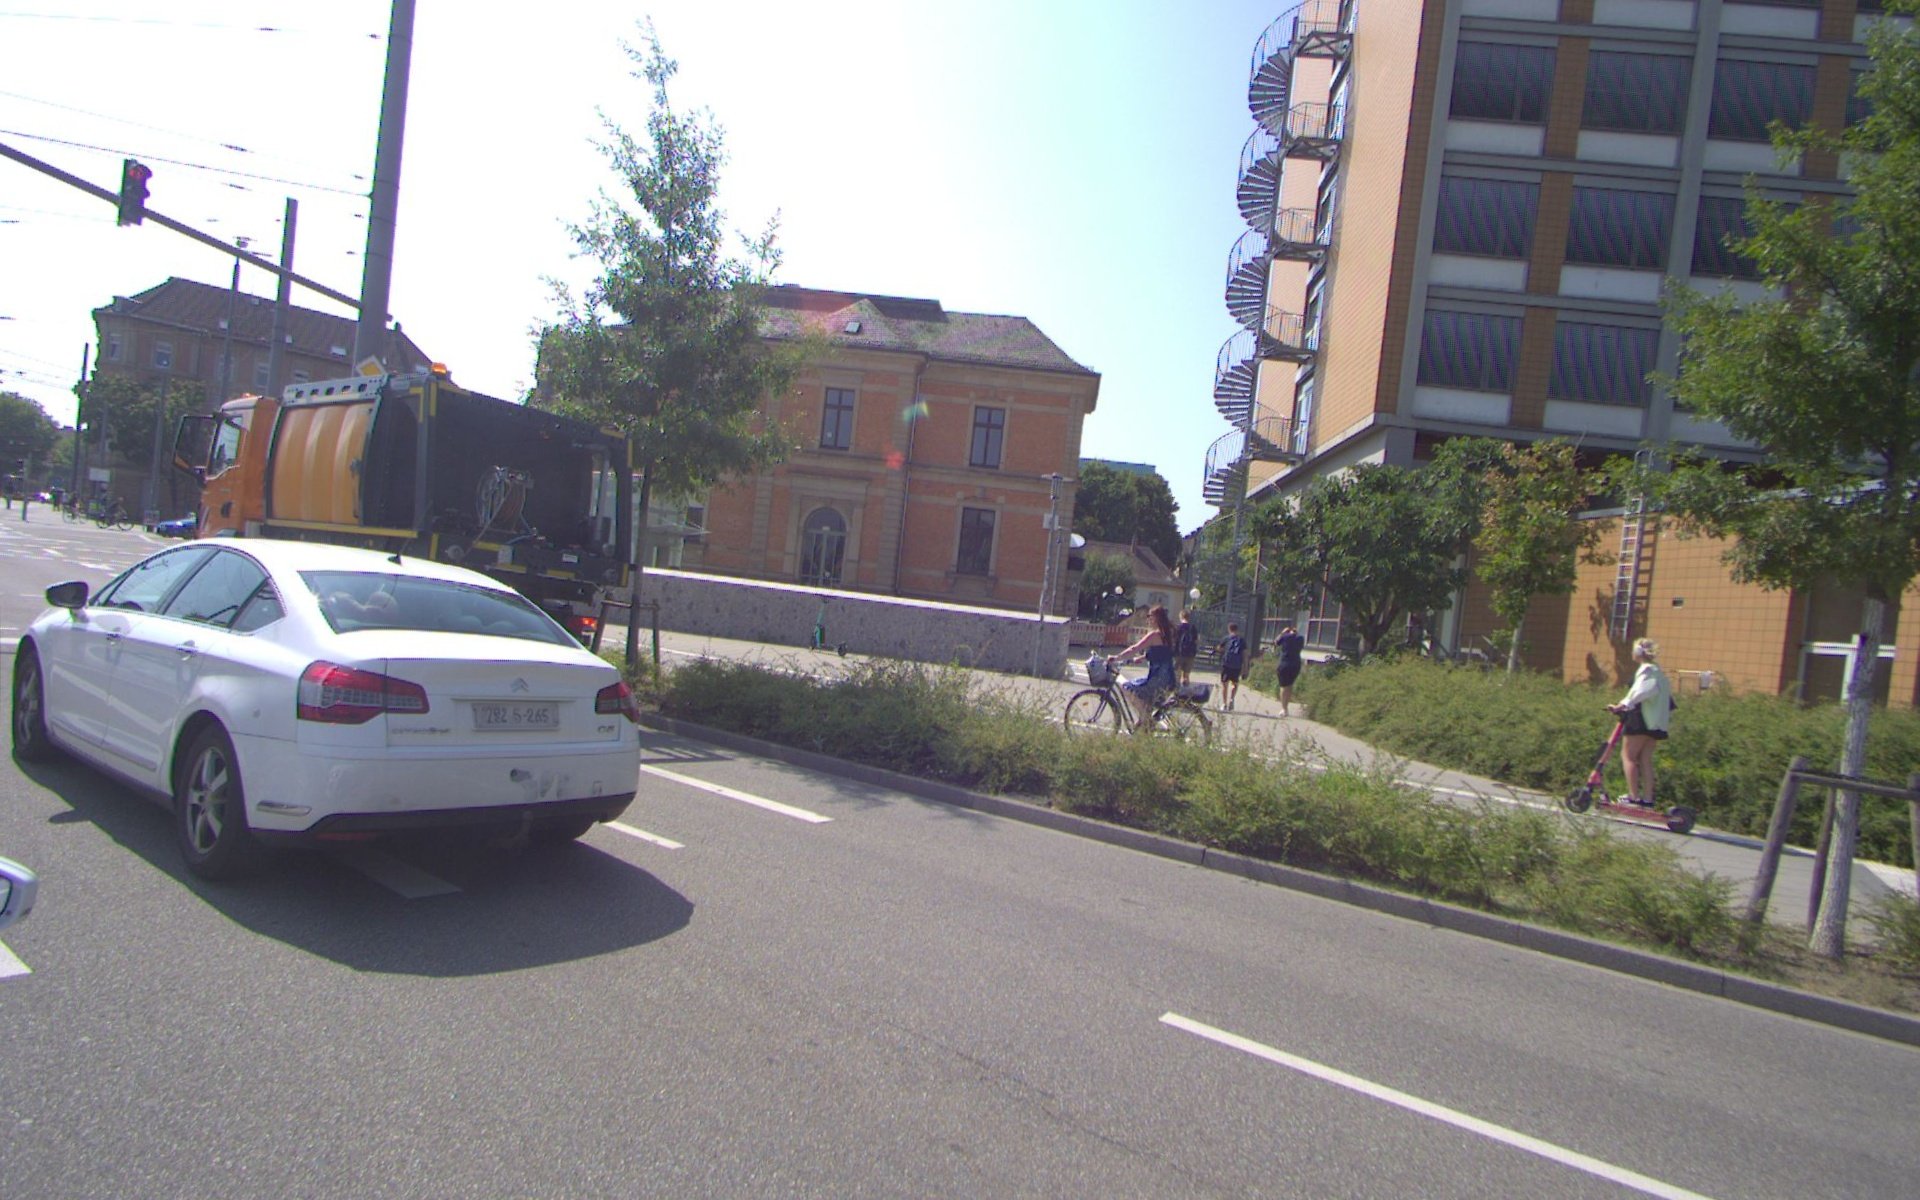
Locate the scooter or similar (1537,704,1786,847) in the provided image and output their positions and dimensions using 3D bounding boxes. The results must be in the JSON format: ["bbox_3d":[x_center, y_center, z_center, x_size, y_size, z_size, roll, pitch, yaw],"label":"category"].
[{"bbox_3d":[7.161,1.752,10.359,1.974,1.074,0.555,5,2,39],"label":"scooter or similar"}]

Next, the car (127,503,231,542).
[{"bbox_3d":[-40.980,-4.049,52.857,1.702,1.437,3.904,7,0,24],"label":"car"}]

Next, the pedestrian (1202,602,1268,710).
[{"bbox_3d":[5.356,1.091,19.605,0.774,1.998,0.745,5,2,-41],"label":"pedestrian"}]

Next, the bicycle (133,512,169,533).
[{"bbox_3d":[-47.236,-4.547,58.752,1.581,0.997,0.502,7,1,-36],"label":"bicycle"}]

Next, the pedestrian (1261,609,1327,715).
[{"bbox_3d":[6.616,1.226,19.912,0.774,1.998,0.745,5,2,-41],"label":"pedestrian"}]

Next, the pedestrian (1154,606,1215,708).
[{"bbox_3d":[4.407,1.106,19.805,0.652,1.884,0.789,6,1,-20],"label":"pedestrian"}]

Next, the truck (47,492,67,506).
[{"bbox_3d":[-145.489,-16.261,162.169,2.105,2.039,5.044,6,0,-41],"label":"truck"}]

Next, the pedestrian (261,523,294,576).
[{"bbox_3d":[-20.506,-1.525,30.211,0.525,1.496,0.440,9,2,12],"label":"pedestrian"}]

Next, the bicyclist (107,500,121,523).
[{"bbox_3d":[-47.000,-4.899,55.899,0.501,1.203,0.502,6,1,-39],"label":"bicyclist"}]

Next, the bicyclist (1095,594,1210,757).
[{"bbox_3d":[2.075,0.792,10.862,0.832,1.621,0.688,8,4,43],"label":"bicyclist"}]

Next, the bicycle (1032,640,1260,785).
[{"bbox_3d":[1.960,1.156,10.960,2.338,1.170,0.692,7,3,42],"label":"bicycle"}]

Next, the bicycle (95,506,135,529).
[{"bbox_3d":[-46.981,-4.585,55.946,1.583,0.997,0.502,7,0,-39],"label":"bicycle"}]

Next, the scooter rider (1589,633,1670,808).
[{"bbox_3d":[6.993,1.227,10.509,0.531,1.722,0.669,5,2,38],"label":"scooter rider"}]

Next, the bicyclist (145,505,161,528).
[{"bbox_3d":[-47.162,-4.873,58.776,0.590,1.263,0.502,6,1,-35],"label":"bicyclist"}]

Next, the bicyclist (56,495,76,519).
[{"bbox_3d":[-50.623,-5.280,56.942,0.497,1.263,0.596,7,1,15],"label":"bicyclist"}]

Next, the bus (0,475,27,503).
[{"bbox_3d":[-137.161,-16.038,145.811,2.553,3.550,7.706,6,1,-43],"label":"bus"}]

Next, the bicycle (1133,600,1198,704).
[{"bbox_3d":[3.976,0.974,19.571,0.450,1.884,1.358,6,1,-16],"label":"bicycle"}]

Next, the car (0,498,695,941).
[{"bbox_3d":[-3.679,0.383,5.665,4.356,1.473,1.758,7,0,36],"label":"car"}]

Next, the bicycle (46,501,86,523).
[{"bbox_3d":[-50.642,-4.986,57.001,0.497,0.997,1.596,7,0,14],"label":"bicycle"}]

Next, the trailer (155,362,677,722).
[{"bbox_3d":[-6.319,-0.655,11.282,6.227,3.043,2.464,7,-1,36],"label":"trailer"}]

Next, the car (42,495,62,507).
[{"bbox_3d":[-135.838,-14.855,150.487,1.987,1.502,3.950,6,0,-44],"label":"car"}]
